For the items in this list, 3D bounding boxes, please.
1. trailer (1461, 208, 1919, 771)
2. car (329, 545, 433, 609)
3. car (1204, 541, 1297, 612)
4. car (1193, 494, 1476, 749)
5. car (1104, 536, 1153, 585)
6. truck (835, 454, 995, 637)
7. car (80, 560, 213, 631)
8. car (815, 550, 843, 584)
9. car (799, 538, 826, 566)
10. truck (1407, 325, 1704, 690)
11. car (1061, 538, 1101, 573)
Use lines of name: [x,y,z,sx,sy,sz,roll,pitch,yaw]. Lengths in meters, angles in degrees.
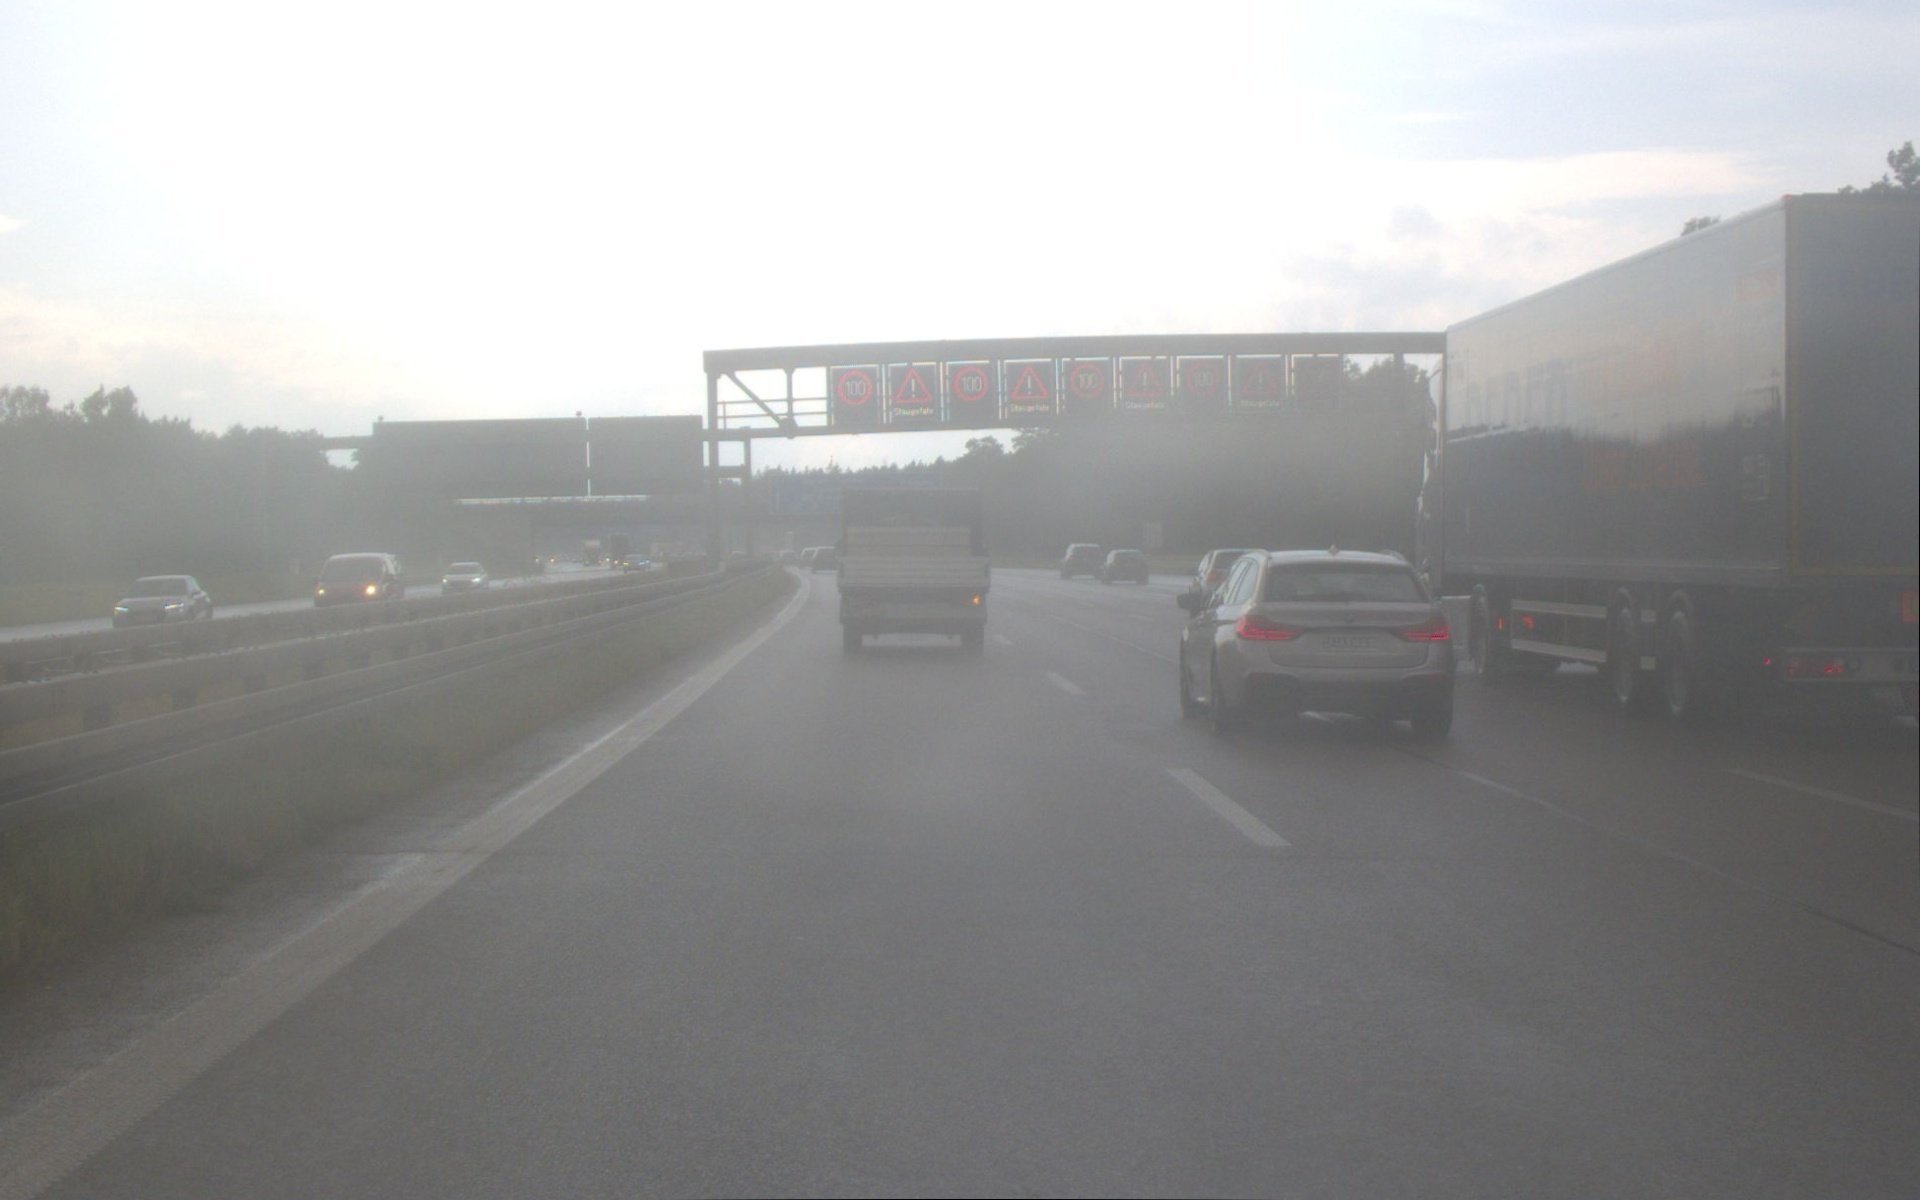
trailer: [6.856,-0.895,31.103,2.323,3.988,13.413,0,1,-2]
car: [-14.851,-0.606,88.413,1.993,1.604,4.609,0,1,-1]
car: [6.172,-0.525,73.399,1.831,1.461,4.000,0,1,3]
car: [2.981,0.112,28.192,2.078,1.878,5.010,1,1,4]
car: [7.163,-1.685,146.340,1.993,2.007,4.000,1,1,2]
truck: [-0.581,-0.791,49.245,2.137,2.480,5.313,0,1,1]
car: [-18.655,-0.133,79.041,1.993,1.495,4.609,-2,1,-1]
car: [-8.023,-2.008,210.449,1.617,2.007,4.001,1,1,-2]
car: [-10.990,-3.588,256.837,1.794,2.007,4.000,1,1,0]
truck: [6.637,-1.019,38.979,2.293,3.854,5.393,0,1,-2]
car: [6.011,-2.226,170.780,1.741,1.683,4.000,0,1,-2]
